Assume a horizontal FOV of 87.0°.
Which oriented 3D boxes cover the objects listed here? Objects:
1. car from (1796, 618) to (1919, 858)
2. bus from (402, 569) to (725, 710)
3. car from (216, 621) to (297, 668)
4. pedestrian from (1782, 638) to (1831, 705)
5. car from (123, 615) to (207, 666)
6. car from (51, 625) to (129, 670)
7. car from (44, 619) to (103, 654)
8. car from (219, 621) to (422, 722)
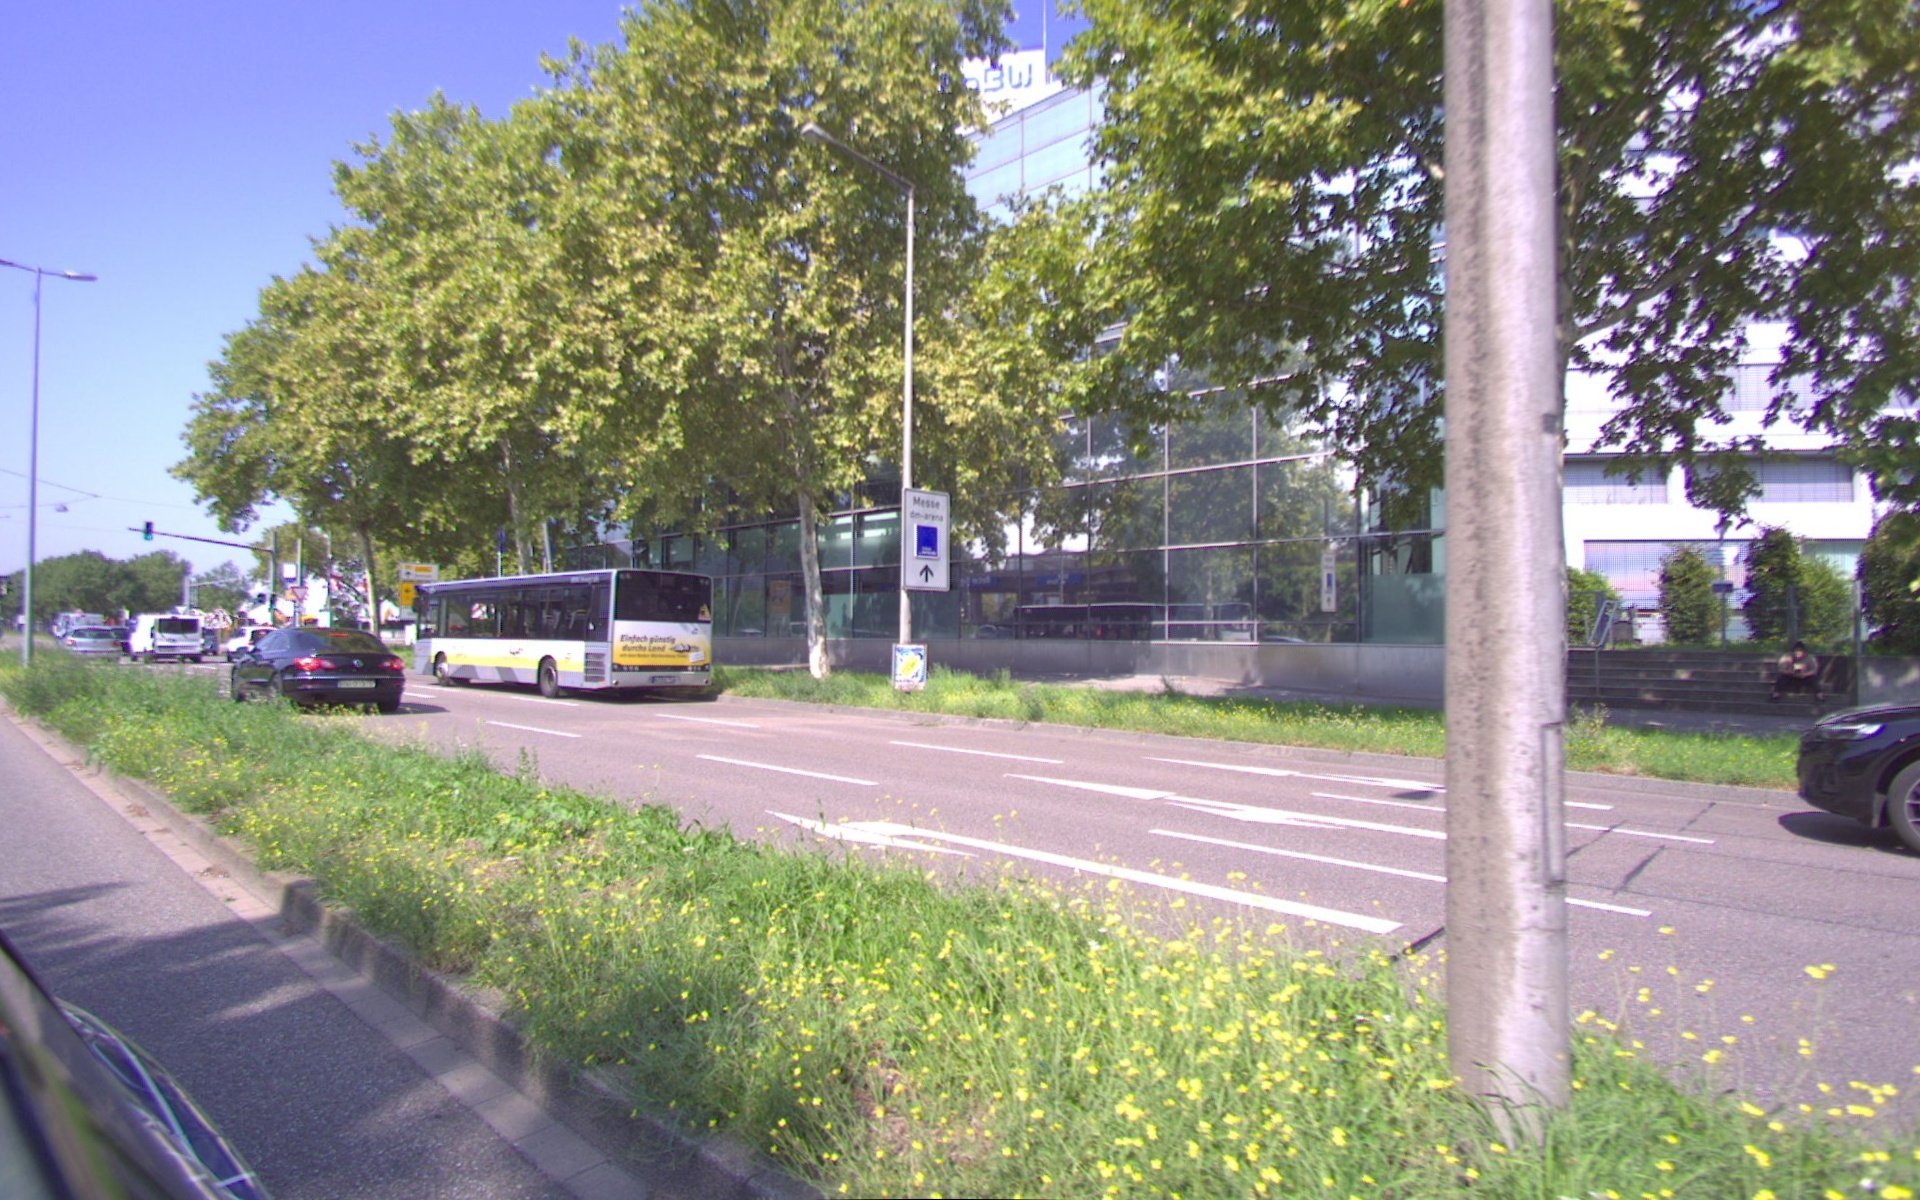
[{"bbox_3d":[8.313,0.912,6.360,4.610,1.617,1.825,-2,-2,43],"label":"car"},{"bbox_3d":[-9.905,0.923,24.211,10.905,2.715,2.633,-1,-4,43],"label":"bus"},{"bbox_3d":[-30.275,1.890,43.510,3.975,1.910,1.906,-1,-4,42],"label":"car"},{"bbox_3d":[14.795,1.251,17.701,0.561,1.118,0.728,-5,-3,38],"label":"pedestrian"},{"bbox_3d":[-32.760,1.647,41.653,5.190,1.975,1.906,-1,-4,44],"label":"car"},{"bbox_3d":[-32.019,1.784,37.209,4.100,1.547,1.596,-3,-5,42],"label":"car"},{"bbox_3d":[-51.300,2.139,58.526,5.211,1.973,1.906,-3,-4,42],"label":"car"},{"bbox_3d":[-11.069,1.154,17.370,4.644,1.501,1.825,-2,-4,44],"label":"car"}]
